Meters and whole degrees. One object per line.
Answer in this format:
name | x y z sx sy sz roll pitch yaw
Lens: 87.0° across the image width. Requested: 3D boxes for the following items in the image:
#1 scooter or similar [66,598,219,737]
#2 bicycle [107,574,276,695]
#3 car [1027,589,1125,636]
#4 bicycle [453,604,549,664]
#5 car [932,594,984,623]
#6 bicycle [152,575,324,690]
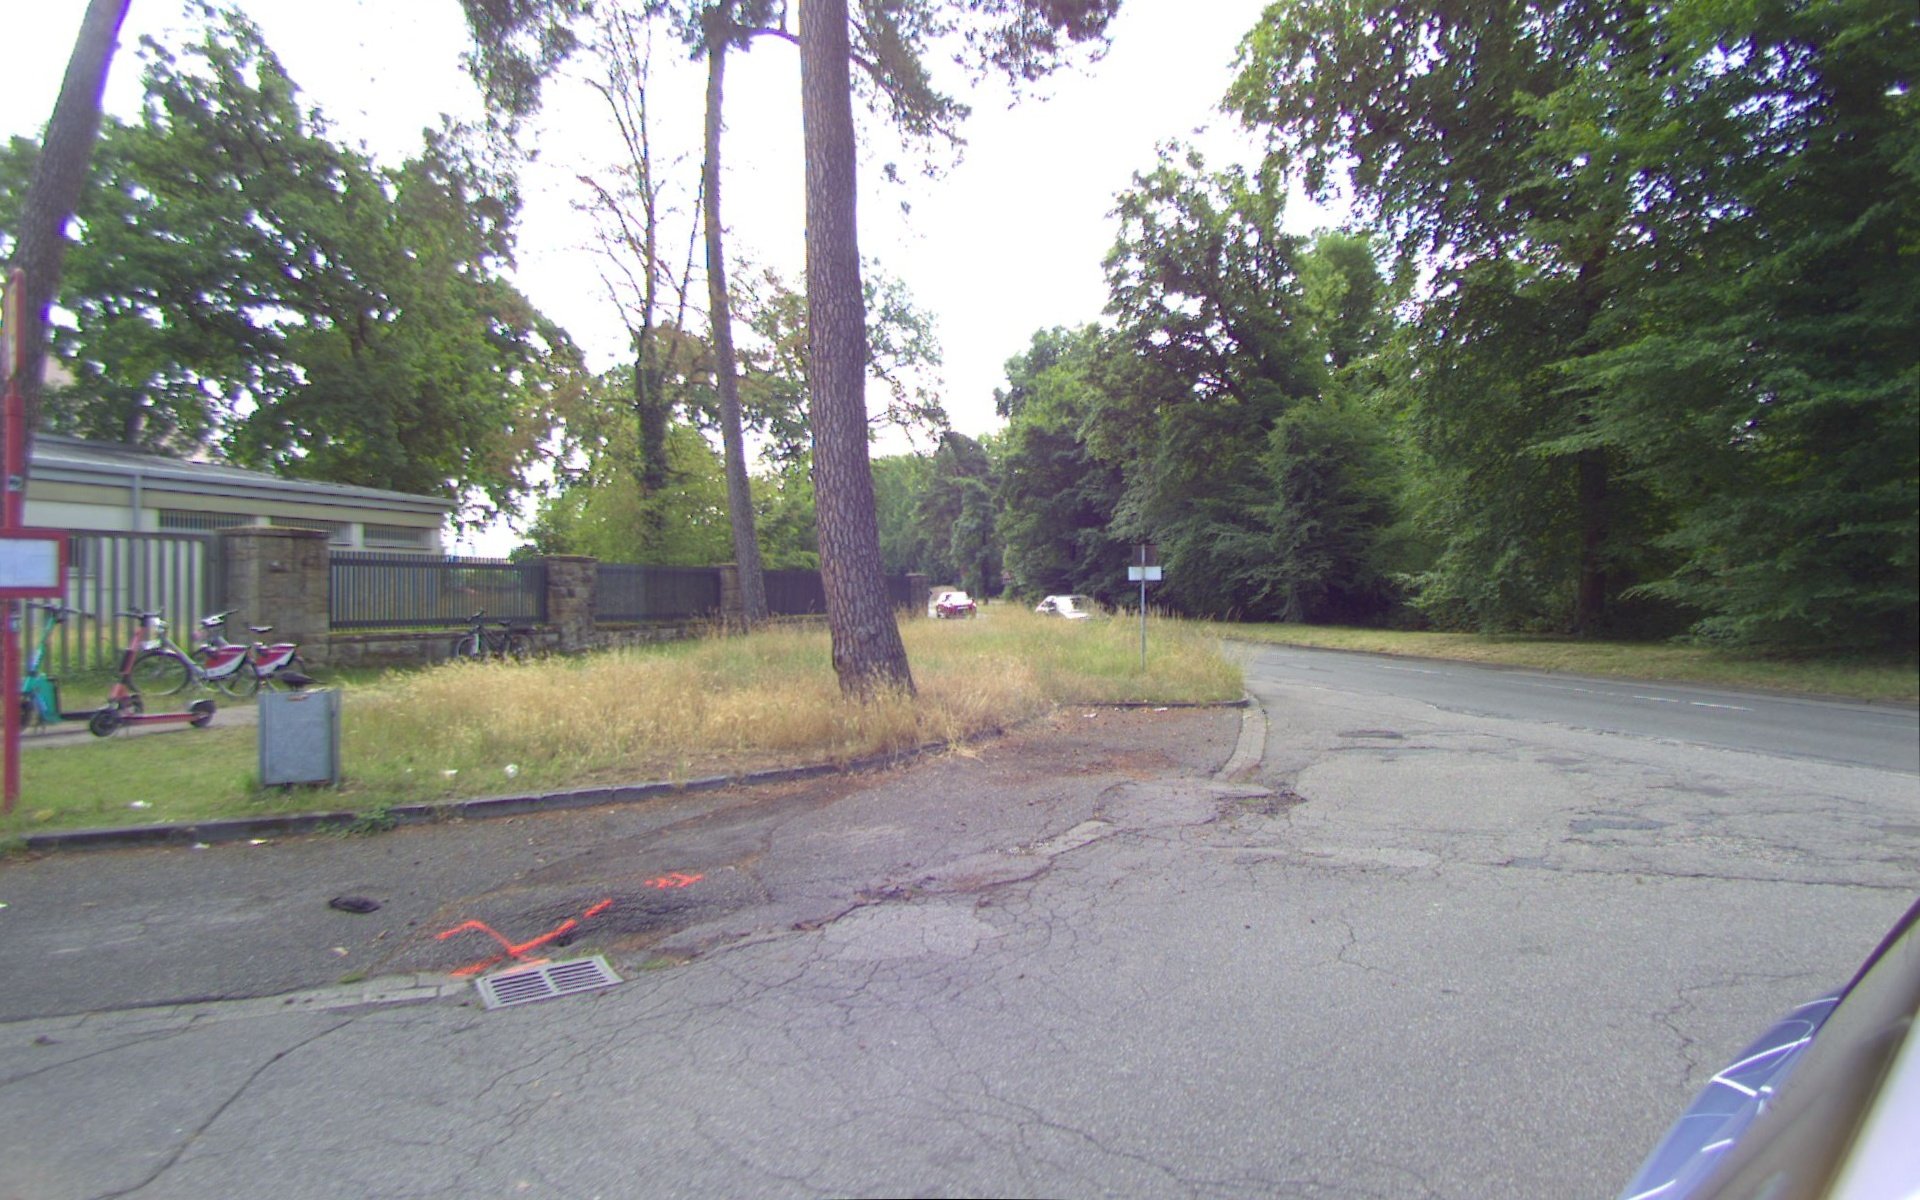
scooter or similar | -7.978 0.629 9.919 0.432 1.243 1.085 -1 1 17
bicycle | -9.605 0.410 12.660 1.768 1.435 0.588 1 0 7
car | 3.967 0.460 35.365 1.926 1.483 4.536 -2 -1 -13
bicycle | -8.596 0.607 19.038 0.369 1.029 1.939 0 1 21
car | -0.155 0.427 56.093 1.958 1.482 4.212 0 1 -13
bicycle | -9.442 0.401 13.252 1.949 1.435 0.577 1 0 7
